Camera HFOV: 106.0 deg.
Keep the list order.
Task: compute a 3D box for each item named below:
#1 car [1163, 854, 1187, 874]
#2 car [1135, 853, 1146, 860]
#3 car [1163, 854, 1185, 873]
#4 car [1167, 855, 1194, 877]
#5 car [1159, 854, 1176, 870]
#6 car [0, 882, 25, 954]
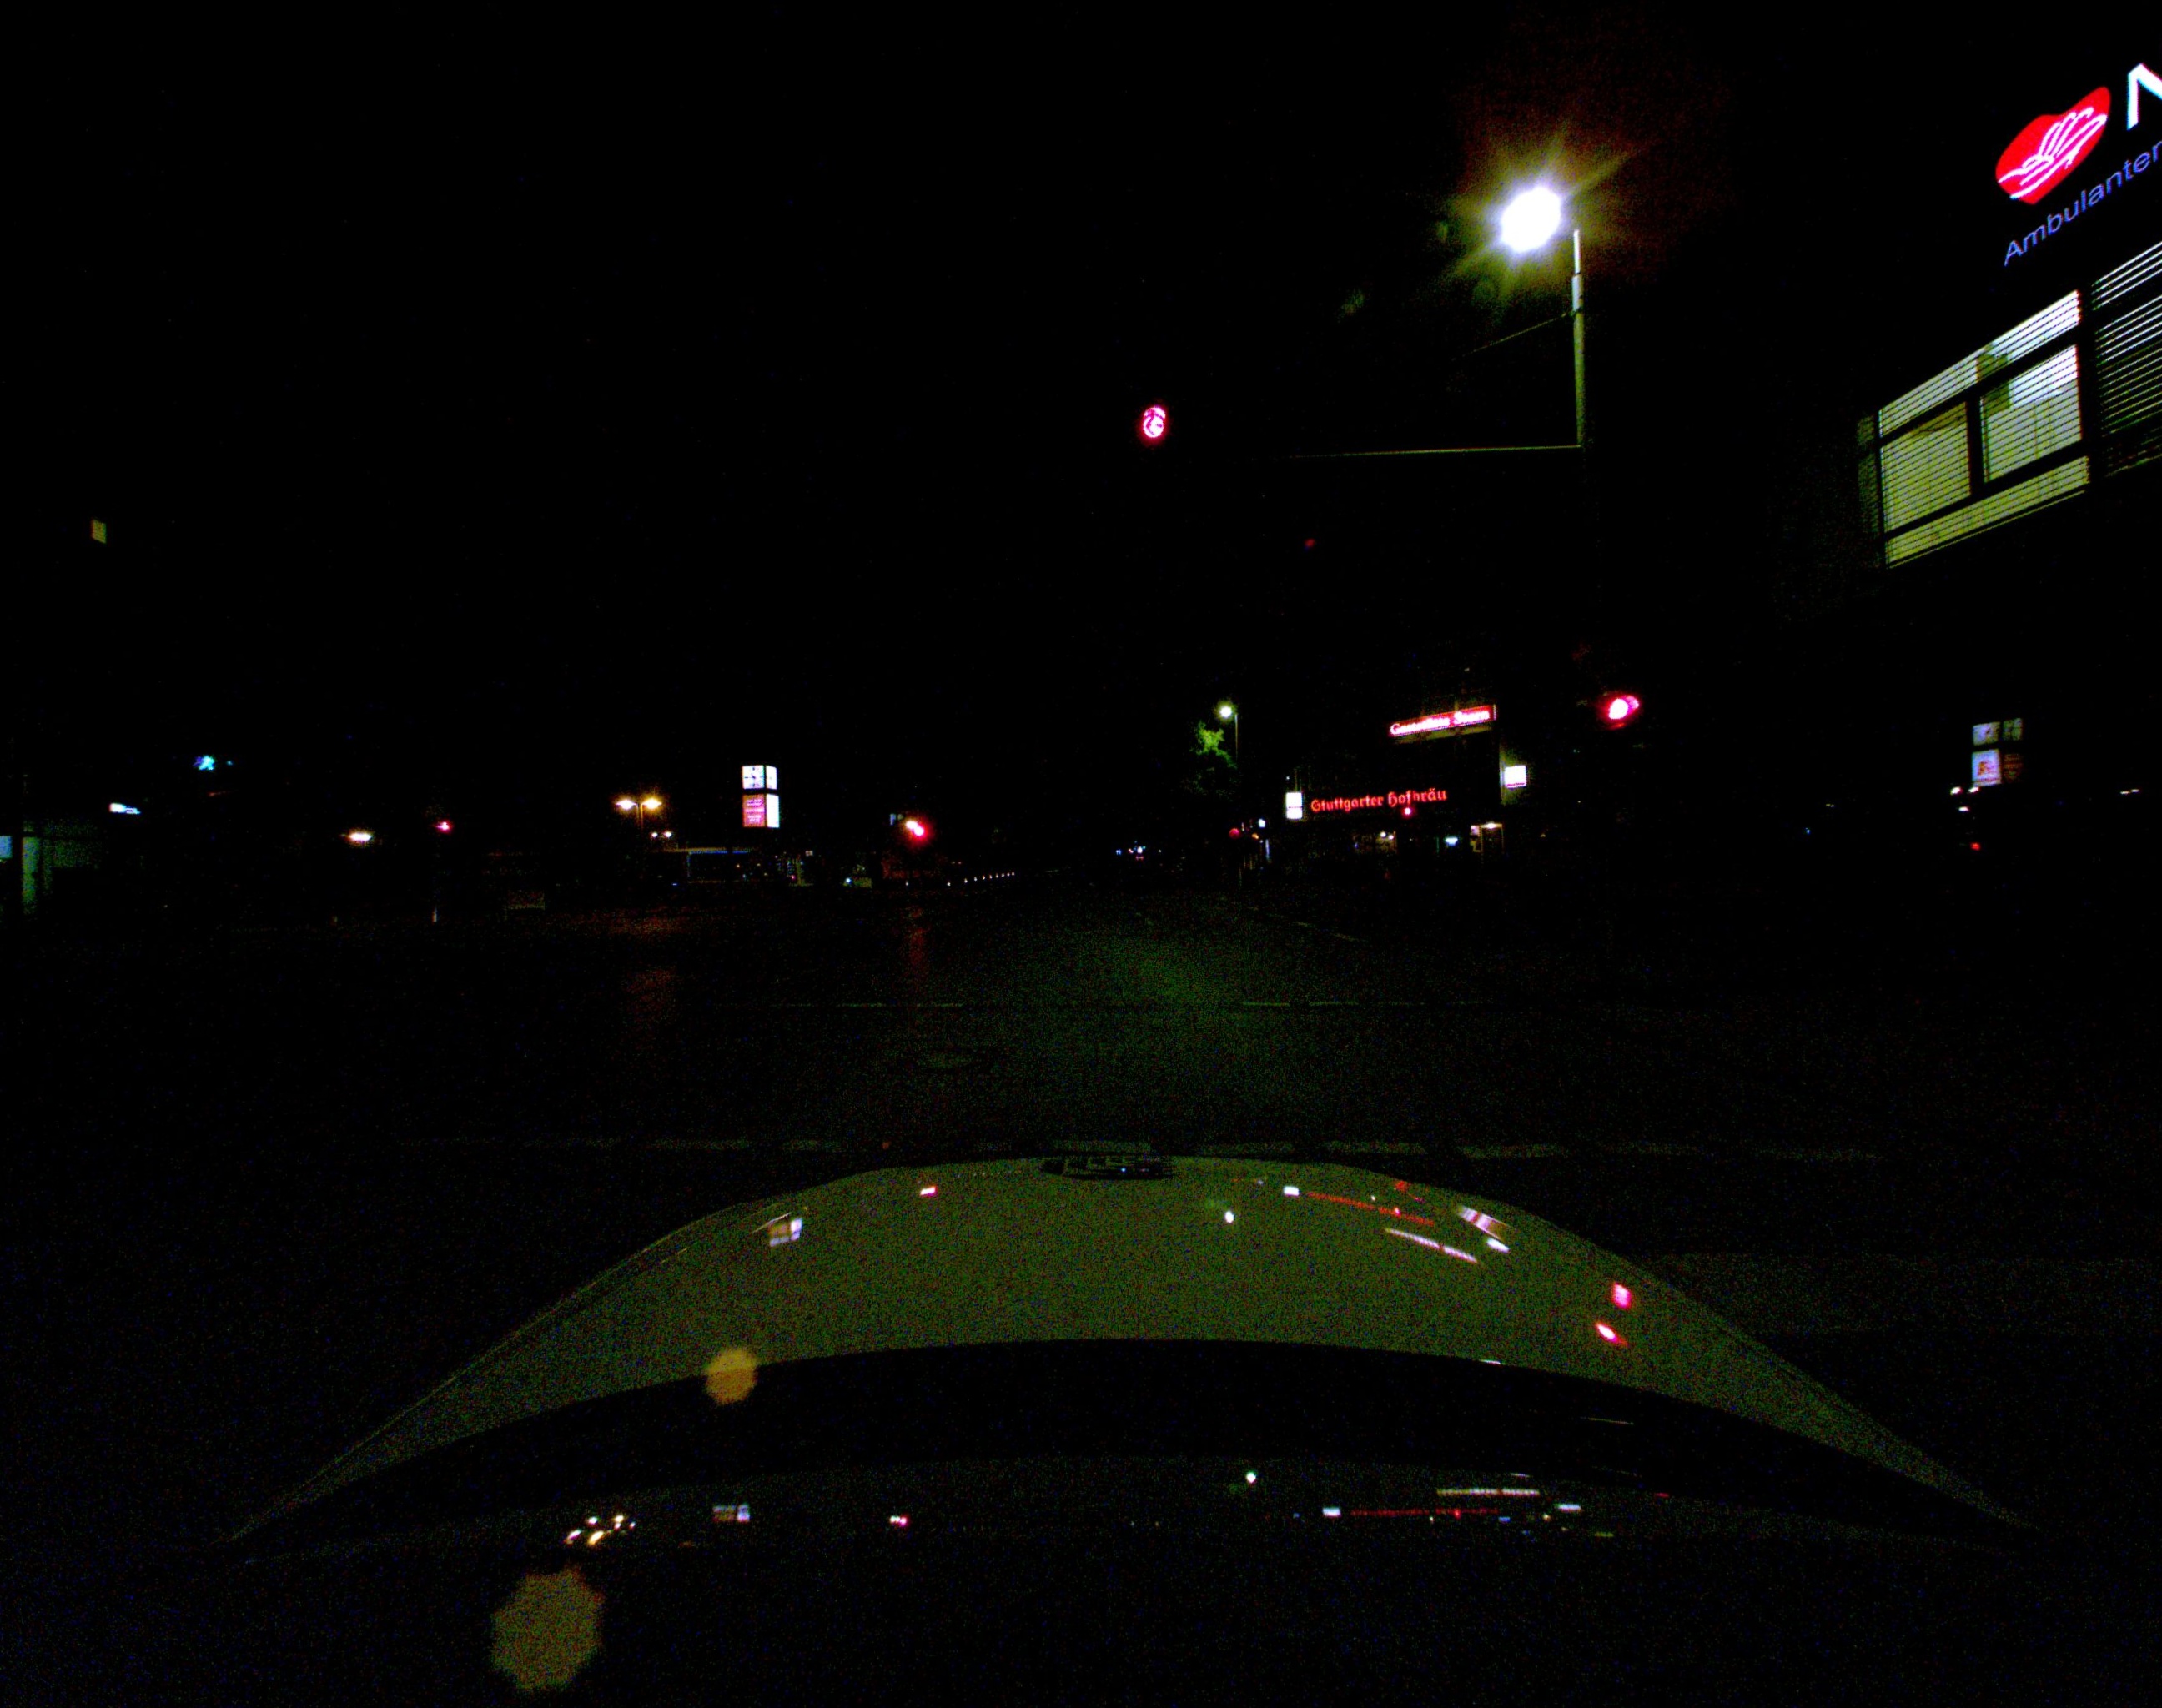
[{"bbox_3d":[7.882,0.825,68.775,1.868,1.615,4.005,-2,-1,5],"label":"car"},{"bbox_3d":[13.668,0.532,187.676,2.219,1.651,4.002,-1,0,2],"label":"car"},{"bbox_3d":[8.677,0.870,76.432,1.868,1.729,4.005,-2,-1,5],"label":"car"},{"bbox_3d":[7.733,0.949,63.559,1.868,1.615,4.005,-2,-1,5],"label":"car"},{"bbox_3d":[10.041,0.921,94.482,1.868,1.683,4.005,-2,-1,5],"label":"car"},{"bbox_3d":[-24.132,1.326,15.676,4.314,1.454,1.868,0,-1,-18],"label":"car"}]
